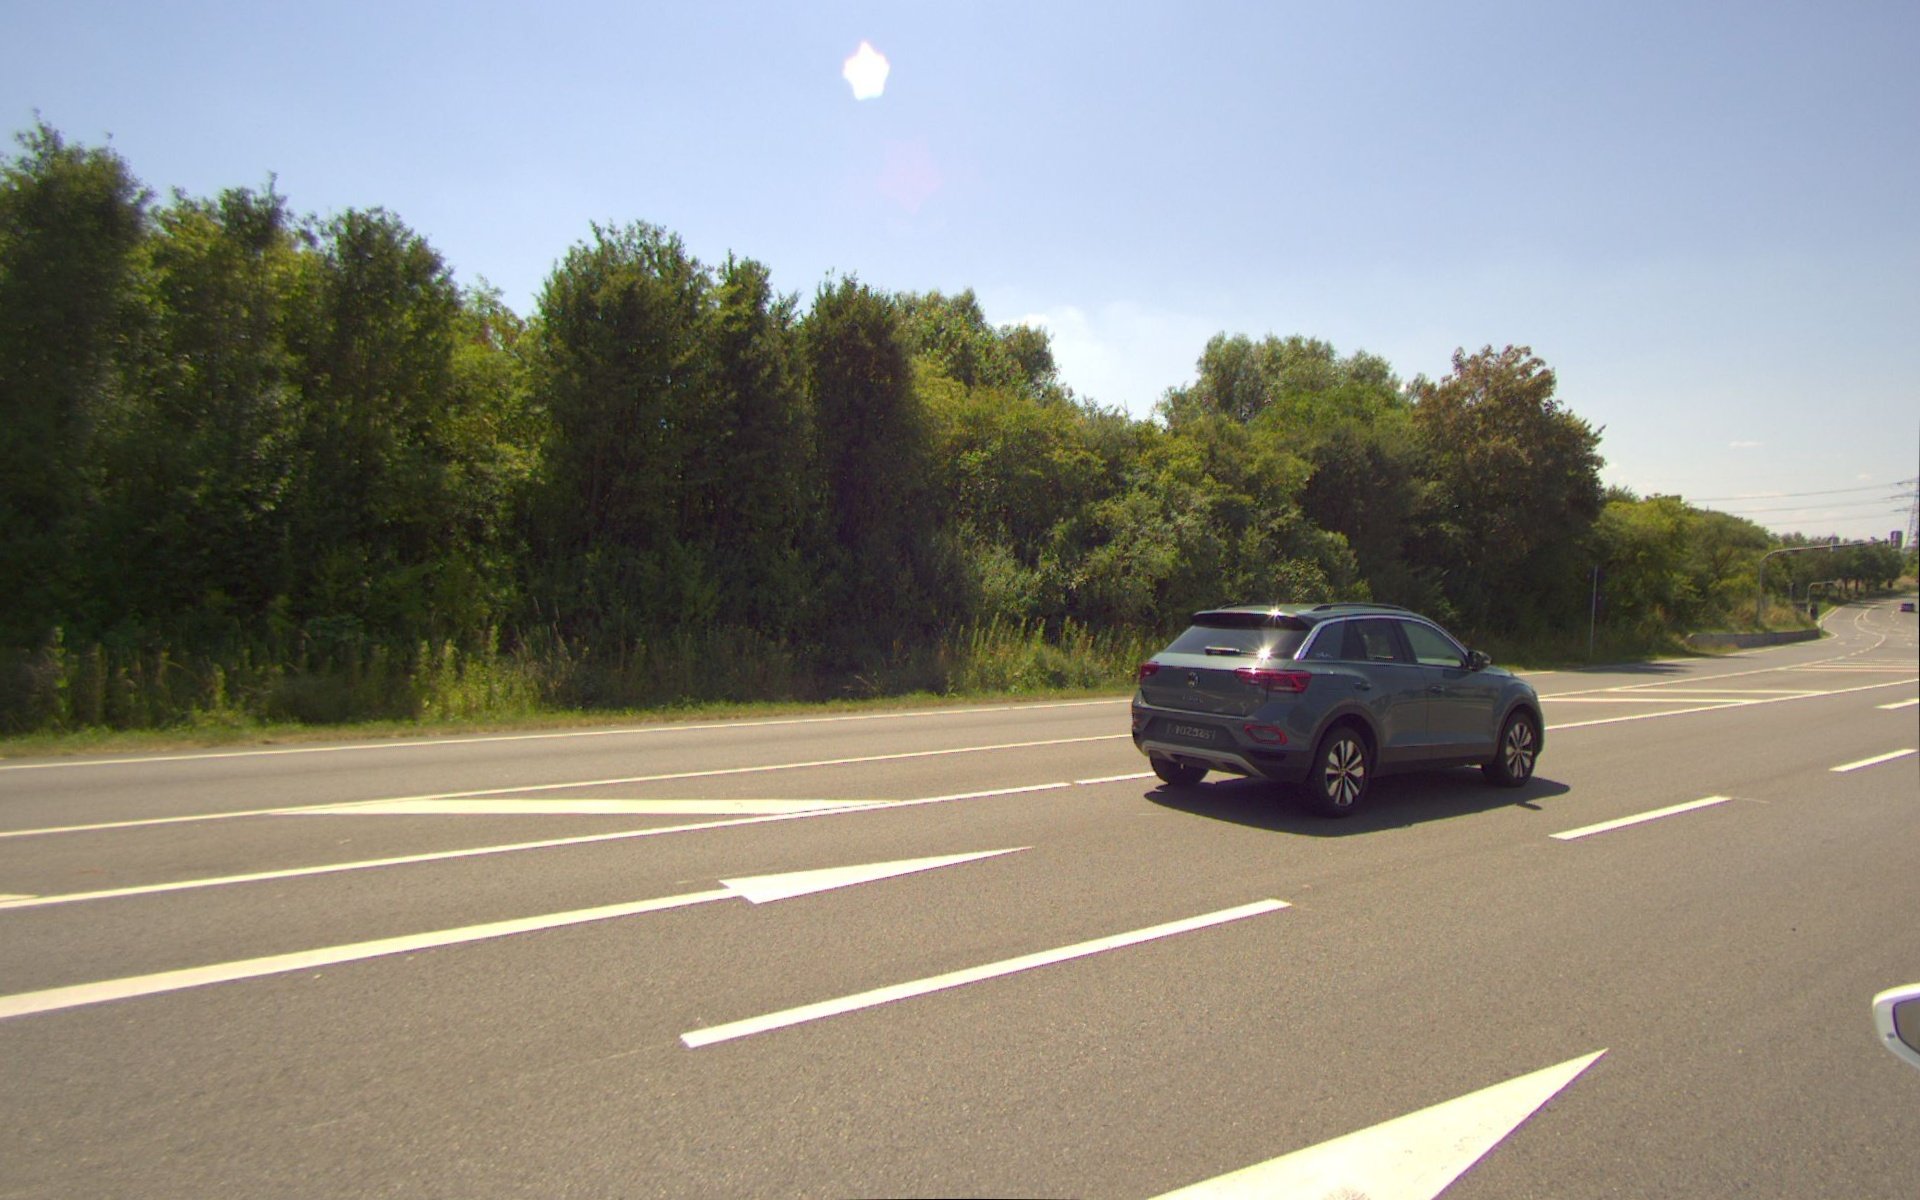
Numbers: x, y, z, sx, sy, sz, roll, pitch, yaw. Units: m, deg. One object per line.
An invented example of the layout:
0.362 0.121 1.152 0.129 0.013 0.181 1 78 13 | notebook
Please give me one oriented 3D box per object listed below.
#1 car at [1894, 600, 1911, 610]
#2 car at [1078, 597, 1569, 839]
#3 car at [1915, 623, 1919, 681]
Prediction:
171.759 0.898 183.075 3.971 1.706 1.975 1 0 -43 | car
3.257 0.822 8.678 4.346 1.607 1.823 1 0 -35 | car
27.489 1.389 27.280 4.169 1.514 1.640 -1 2 -38 | car
